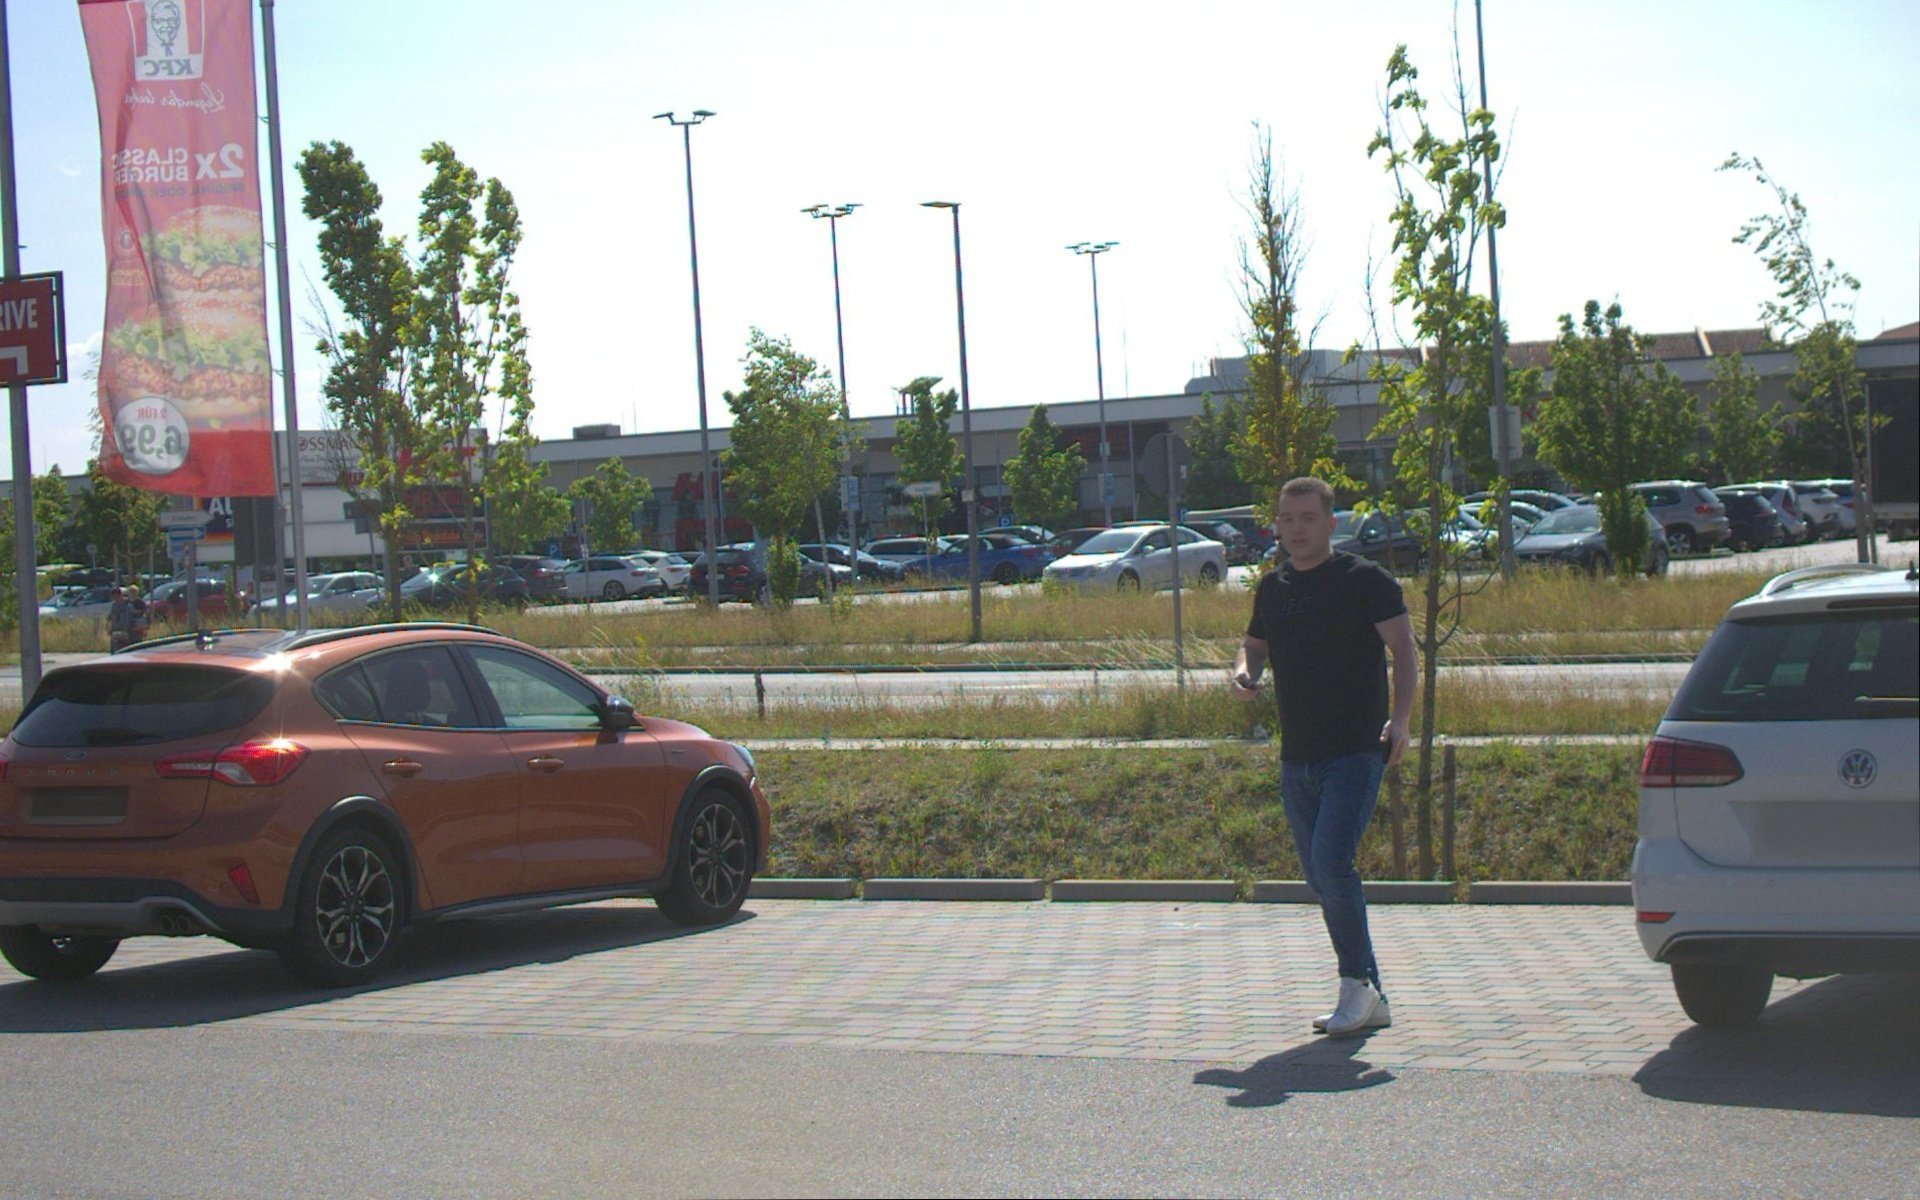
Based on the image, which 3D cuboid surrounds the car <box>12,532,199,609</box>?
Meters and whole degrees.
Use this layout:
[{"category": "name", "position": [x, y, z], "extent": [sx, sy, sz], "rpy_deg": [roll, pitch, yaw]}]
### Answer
[{"category": "car", "position": [-24.364, -0.867, 98.195], "extent": [1.997, 2.007, 5.170], "rpy_deg": [-1, 1, 33]}]

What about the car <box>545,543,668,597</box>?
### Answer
[{"category": "car", "position": [-11.182, -0.951, 108.760], "extent": [3.467, 1.546, 1.665], "rpy_deg": [-2, 1, 18]}]

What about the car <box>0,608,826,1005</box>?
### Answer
[{"category": "car", "position": [-2.596, 0.838, 15.746], "extent": [1.830, 1.464, 4.346], "rpy_deg": [-2, 0, 31]}]

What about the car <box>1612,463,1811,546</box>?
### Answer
[{"category": "car", "position": [18.287, -2.331, 83.595], "extent": [4.395, 1.849, 1.953], "rpy_deg": [-1, 1, 23]}]

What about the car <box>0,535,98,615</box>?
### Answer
[{"category": "car", "position": [-28.841, -0.675, 101.280], "extent": [2.813, 2.229, 6.299], "rpy_deg": [-1, 2, 36]}]

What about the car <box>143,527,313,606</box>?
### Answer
[{"category": "car", "position": [-20.226, -0.940, 95.041], "extent": [4.080, 2.007, 1.999], "rpy_deg": [-3, 2, -44]}]

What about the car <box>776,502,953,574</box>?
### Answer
[{"category": "car", "position": [-2.912, -1.883, 104.912], "extent": [4.920, 2.007, 2.080], "rpy_deg": [-2, 1, 19]}]

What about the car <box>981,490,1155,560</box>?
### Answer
[{"category": "car", "position": [3.117, -2.156, 99.163], "extent": [4.563, 1.849, 1.953], "rpy_deg": [-1, 1, 23]}]

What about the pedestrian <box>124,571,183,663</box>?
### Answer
[{"category": "pedestrian", "position": [-14.366, 0.304, 61.251], "extent": [0.690, 1.594, 0.756], "rpy_deg": [-3, 1, -41]}]

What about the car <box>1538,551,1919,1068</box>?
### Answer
[{"category": "car", "position": [3.708, 0.562, 11.758], "extent": [1.830, 1.464, 4.474], "rpy_deg": [-2, 0, 32]}]

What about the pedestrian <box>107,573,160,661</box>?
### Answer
[{"category": "pedestrian", "position": [-14.891, 0.311, 61.922], "extent": [0.624, 1.550, 0.667], "rpy_deg": [-3, 1, -41]}]

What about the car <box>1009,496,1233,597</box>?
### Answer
[{"category": "car", "position": [3.230, -1.074, 68.499], "extent": [4.275, 1.849, 1.999], "rpy_deg": [-3, 2, -44]}]

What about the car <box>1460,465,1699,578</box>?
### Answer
[{"category": "car", "position": [11.094, -1.413, 61.409], "extent": [4.393, 1.849, 1.954], "rpy_deg": [-3, 2, -44]}]

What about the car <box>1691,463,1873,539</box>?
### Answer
[{"category": "car", "position": [21.785, -2.623, 91.130], "extent": [4.395, 1.849, 1.953], "rpy_deg": [-1, 1, 23]}]

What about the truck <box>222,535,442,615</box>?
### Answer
[{"category": "truck", "position": [-16.132, -0.662, 88.553], "extent": [1.998, 1.857, 5.420], "rpy_deg": [-1, 2, 43]}]

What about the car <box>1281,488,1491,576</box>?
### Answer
[{"category": "car", "position": [9.841, -1.572, 79.358], "extent": [4.395, 1.849, 1.953], "rpy_deg": [-1, 1, 23]}]

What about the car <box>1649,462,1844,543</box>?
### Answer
[{"category": "car", "position": [19.585, -2.421, 85.593], "extent": [4.395, 1.849, 1.953], "rpy_deg": [-1, 1, 23]}]

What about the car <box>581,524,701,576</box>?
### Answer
[{"category": "car", "position": [-10.322, -1.610, 111.345], "extent": [3.467, 1.546, 1.665], "rpy_deg": [-2, 1, 18]}]

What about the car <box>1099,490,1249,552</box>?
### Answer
[{"category": "car", "position": [6.926, -2.559, 111.093], "extent": [4.395, 1.849, 1.953], "rpy_deg": [-1, 1, 23]}]

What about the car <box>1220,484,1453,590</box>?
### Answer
[{"category": "car", "position": [7.153, -1.202, 65.046], "extent": [4.393, 1.849, 1.954], "rpy_deg": [-3, 2, -44]}]

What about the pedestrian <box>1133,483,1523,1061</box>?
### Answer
[{"category": "pedestrian", "position": [1.209, 0.539, 11.364], "extent": [0.991, 1.803, 0.726], "rpy_deg": [-2, 0, -24]}]

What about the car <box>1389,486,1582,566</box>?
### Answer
[{"category": "car", "position": [13.243, -1.875, 86.620], "extent": [4.395, 1.849, 1.953], "rpy_deg": [-1, 1, 23]}]

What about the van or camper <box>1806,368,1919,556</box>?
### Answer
[{"category": "van or camper", "position": [17.759, -2.347, 56.210], "extent": [2.412, 3.091, 8.055], "rpy_deg": [-3, 1, -33]}]

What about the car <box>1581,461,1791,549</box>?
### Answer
[{"category": "car", "position": [16.677, -2.169, 78.959], "extent": [4.395, 1.849, 1.953], "rpy_deg": [-1, 1, 23]}]

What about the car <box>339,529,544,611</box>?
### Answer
[{"category": "car", "position": [-12.739, -0.750, 84.679], "extent": [1.998, 1.839, 4.721], "rpy_deg": [-1, 2, 43]}]

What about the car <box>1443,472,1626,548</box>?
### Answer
[{"category": "car", "position": [15.248, -2.399, 91.260], "extent": [4.395, 1.849, 1.953], "rpy_deg": [-1, 1, 23]}]

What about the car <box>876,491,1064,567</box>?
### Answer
[{"category": "car", "position": [0.261, -1.891, 91.859], "extent": [4.563, 1.849, 1.953], "rpy_deg": [-1, 1, 23]}]
